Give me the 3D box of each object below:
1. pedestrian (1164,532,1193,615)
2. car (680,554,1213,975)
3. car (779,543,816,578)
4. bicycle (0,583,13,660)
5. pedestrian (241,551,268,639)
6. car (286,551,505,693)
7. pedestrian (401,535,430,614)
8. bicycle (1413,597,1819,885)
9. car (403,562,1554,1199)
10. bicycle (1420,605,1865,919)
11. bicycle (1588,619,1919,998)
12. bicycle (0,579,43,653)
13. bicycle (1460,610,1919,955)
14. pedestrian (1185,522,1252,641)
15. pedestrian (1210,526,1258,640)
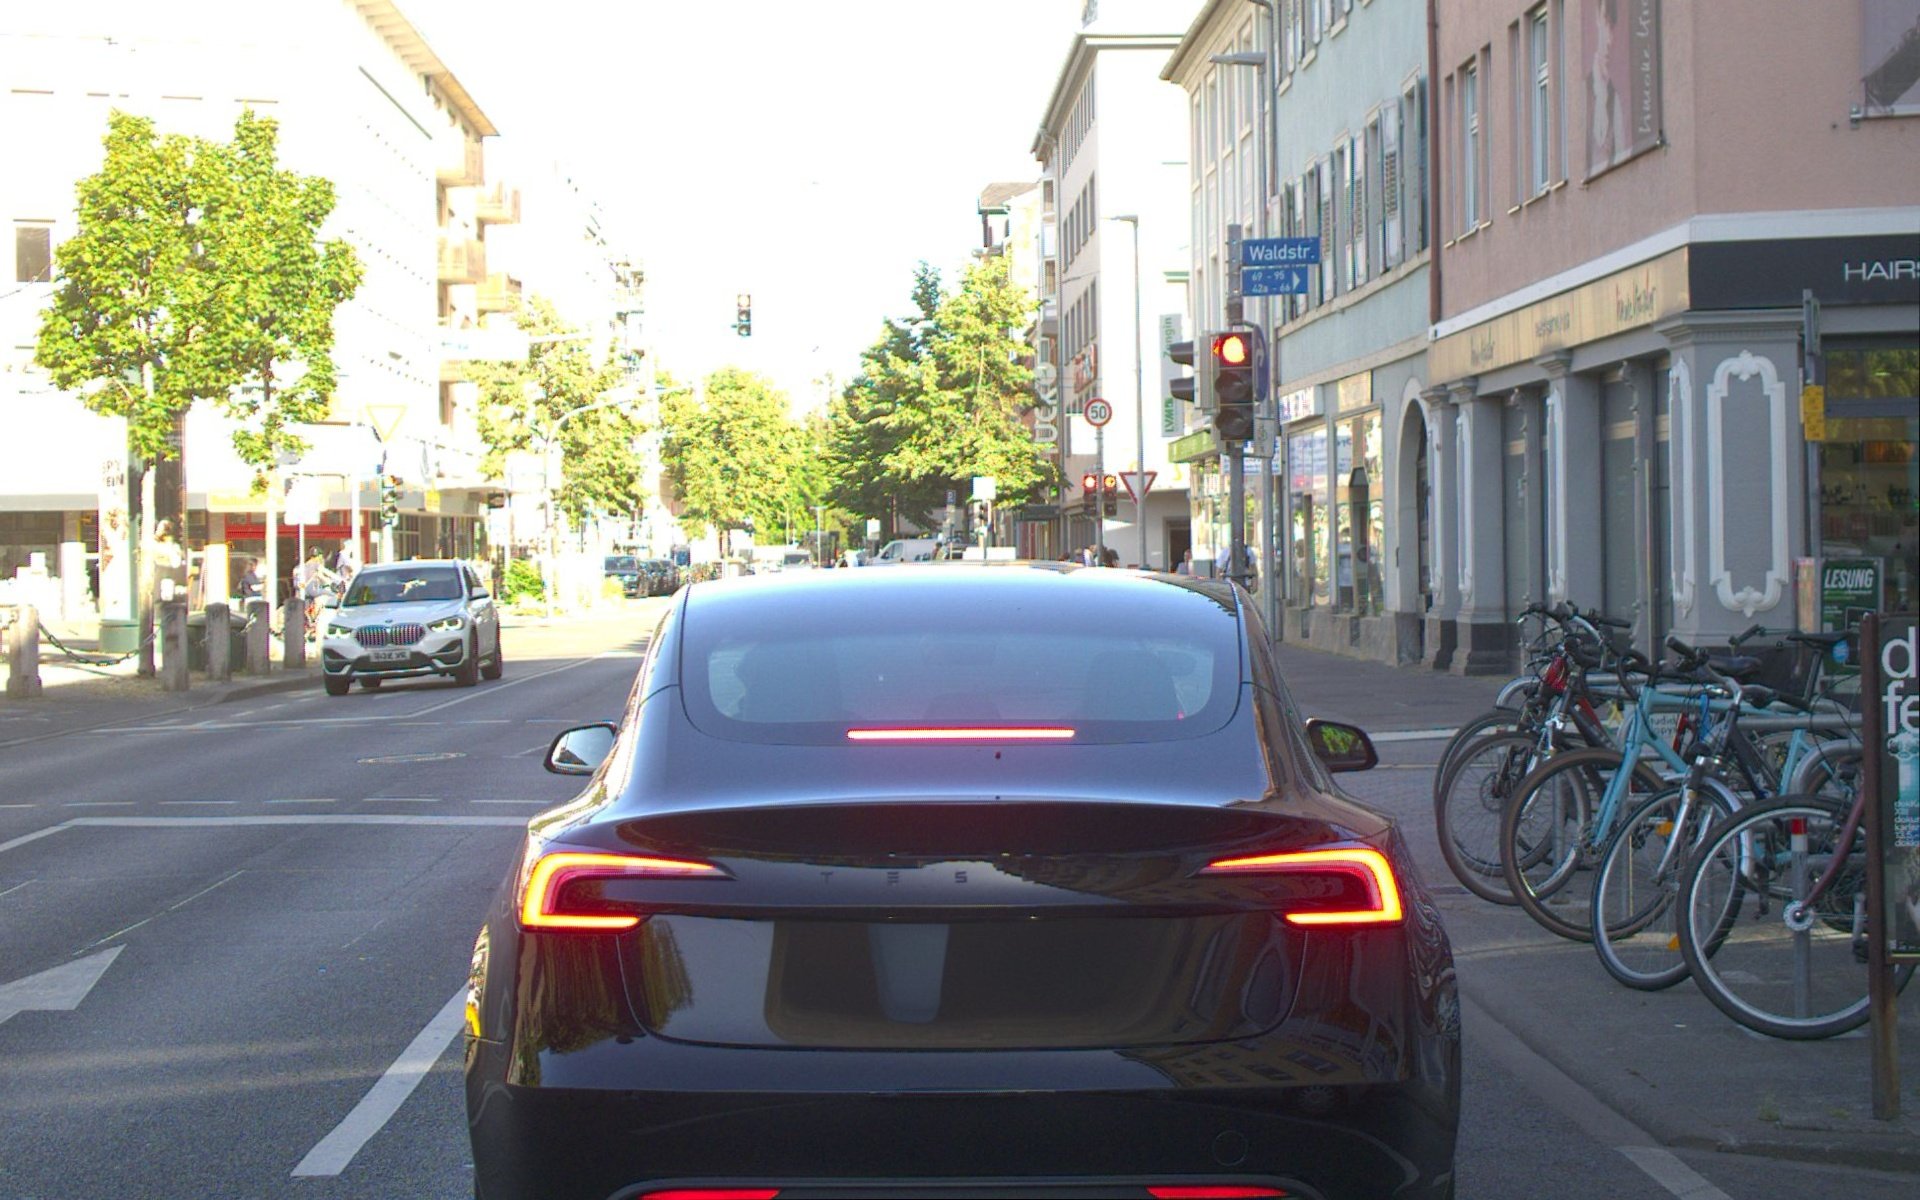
[{"bbox_3d":[4.461,-0.541,70.215,0.570,1.685,0.387,0,1,-1],"label":"pedestrian"},{"bbox_3d":[-0.041,0.545,13.825,1.850,1.450,3.786,0,1,0],"label":"car"},{"bbox_3d":[-8.267,-2.026,175.403,1.829,1.718,4.000,0,1,-2],"label":"car"},{"bbox_3d":[-14.921,0.308,49.979,2.082,1.100,0.806,0,1,-1],"label":"bicycle"},{"bbox_3d":[-12.820,-0.097,62.485,0.385,1.586,0.706,0,1,-5],"label":"pedestrian"},{"bbox_3d":[-6.926,0.229,42.561,1.993,1.535,4.000,-4,1,-1],"label":"car"},{"bbox_3d":[-13.762,-0.650,86.859,0.626,2.007,0.707,0,1,-1],"label":"pedestrian"},{"bbox_3d":[2.803,0.598,14.761,1.628,1.156,0.433,-2,1,1],"label":"bicycle"},{"bbox_3d":[0.035,0.652,7.426,1.850,1.450,3.786,0,1,0],"label":"car"},{"bbox_3d":[2.680,0.629,13.558,1.627,1.156,0.433,-2,1,-1],"label":"bicycle"},{"bbox_3d":[2.911,0.654,11.161,1.627,1.156,0.433,-2,1,-1],"label":"bicycle"},{"bbox_3d":[-15.060,0.237,52.172,2.082,1.100,0.806,0,1,-1],"label":"bicycle"},{"bbox_3d":[2.667,0.647,12.391,1.627,1.156,0.433,-2,1,-1],"label":"bicycle"},{"bbox_3d":[4.049,-0.294,53.834,0.999,1.844,0.615,0,1,-1],"label":"pedestrian"},{"bbox_3d":[4.287,-0.265,53.777,0.704,1.777,0.533,0,1,-1],"label":"pedestrian"}]
